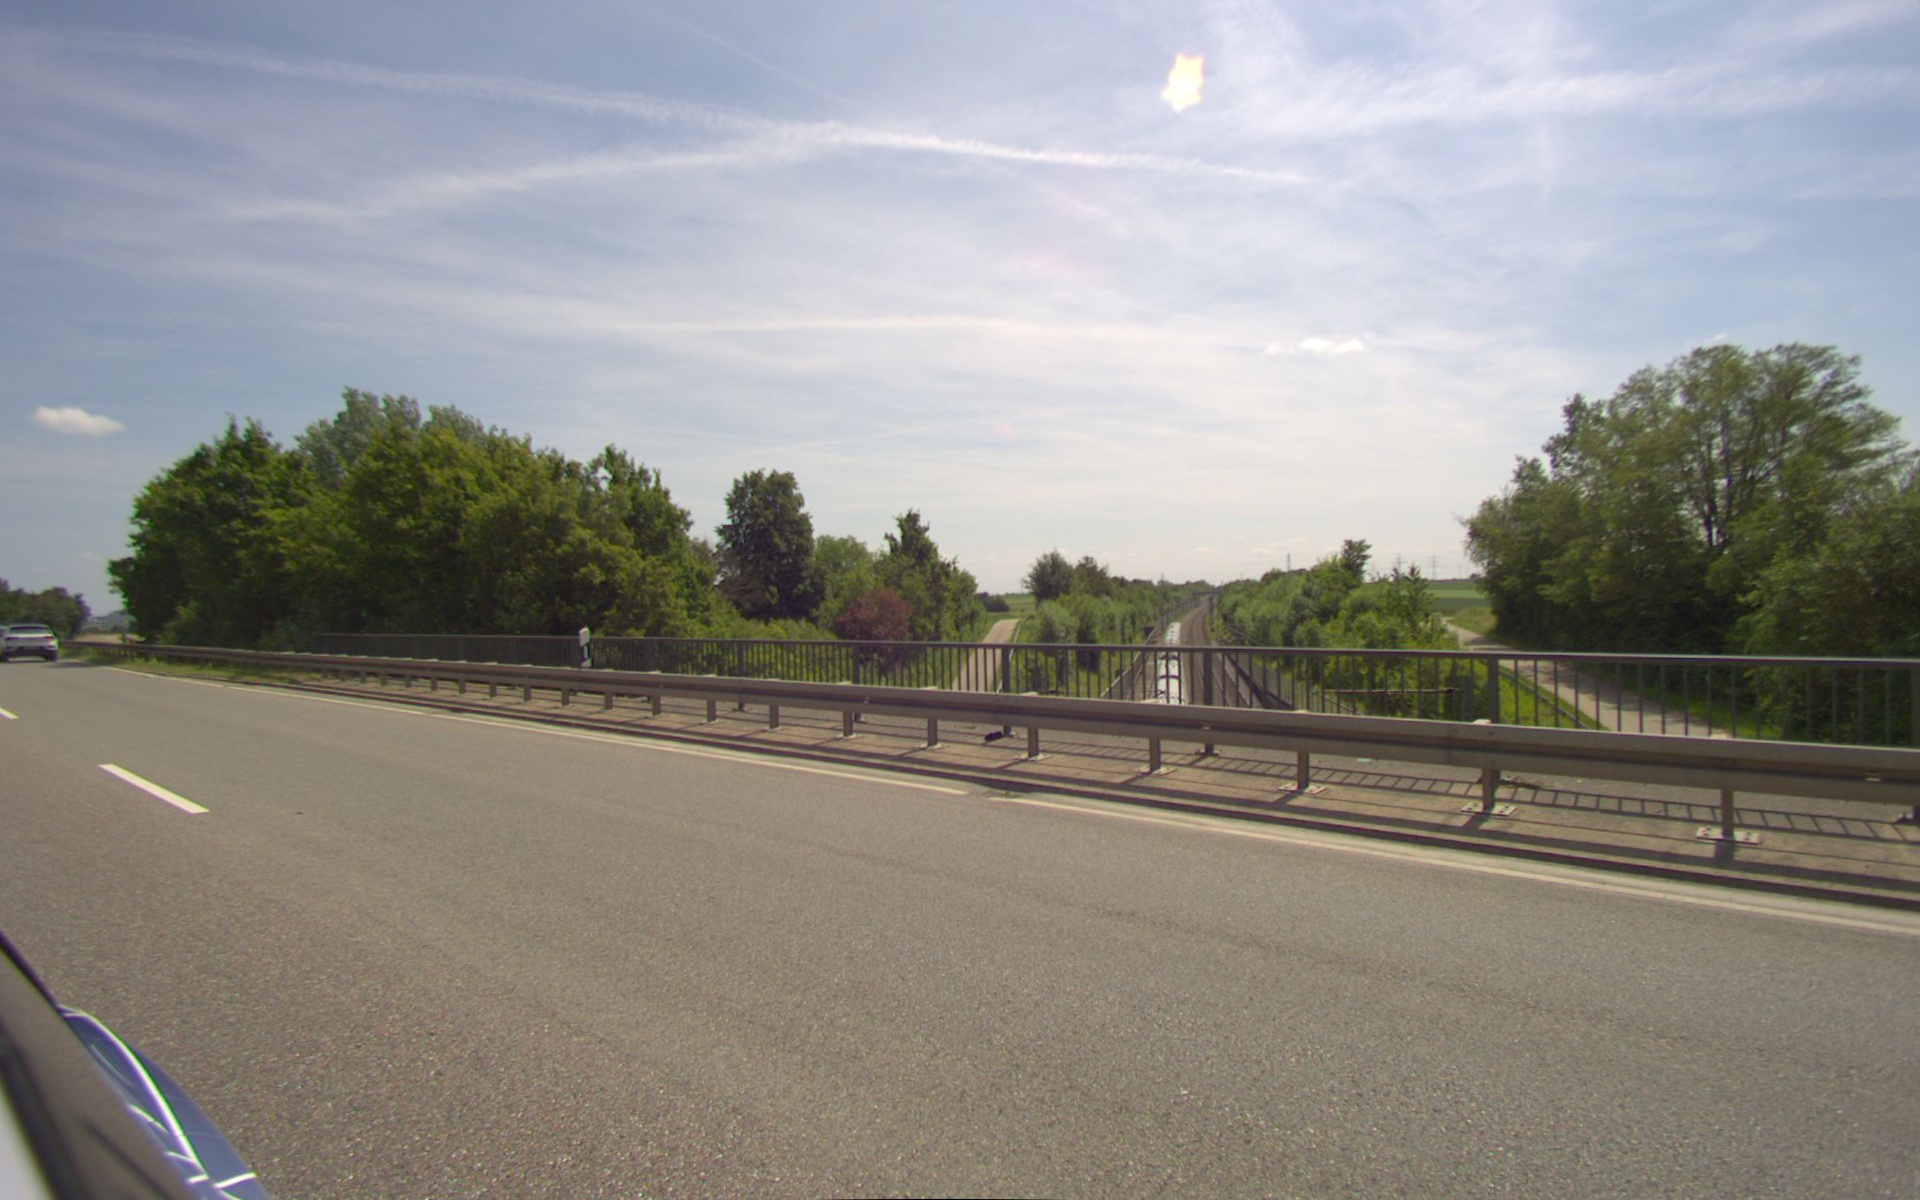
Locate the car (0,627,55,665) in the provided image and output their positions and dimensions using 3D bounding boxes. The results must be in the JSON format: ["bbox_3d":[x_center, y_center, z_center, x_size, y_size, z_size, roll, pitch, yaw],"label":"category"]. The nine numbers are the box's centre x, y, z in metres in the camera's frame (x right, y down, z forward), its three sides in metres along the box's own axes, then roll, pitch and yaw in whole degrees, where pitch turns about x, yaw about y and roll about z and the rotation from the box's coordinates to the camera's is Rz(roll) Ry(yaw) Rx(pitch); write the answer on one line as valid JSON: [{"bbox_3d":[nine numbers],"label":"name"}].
[{"bbox_3d":[-39.574,1.915,42.673,4.545,1.523,1.858,-2,-2,45],"label":"car"}]

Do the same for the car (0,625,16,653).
[{"bbox_3d":[-55.681,2.260,58.308,4.339,1.563,1.641,-2,-2,44],"label":"car"}]

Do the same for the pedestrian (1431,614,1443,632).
[{"bbox_3d":[43.539,2.073,92.383,0.766,1.652,0.817,-1,0,15],"label":"pedestrian"}]

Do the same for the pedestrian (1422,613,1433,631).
[{"bbox_3d":[42.454,1.976,91.912,0.695,1.652,0.803,-1,0,14],"label":"pedestrian"}]
